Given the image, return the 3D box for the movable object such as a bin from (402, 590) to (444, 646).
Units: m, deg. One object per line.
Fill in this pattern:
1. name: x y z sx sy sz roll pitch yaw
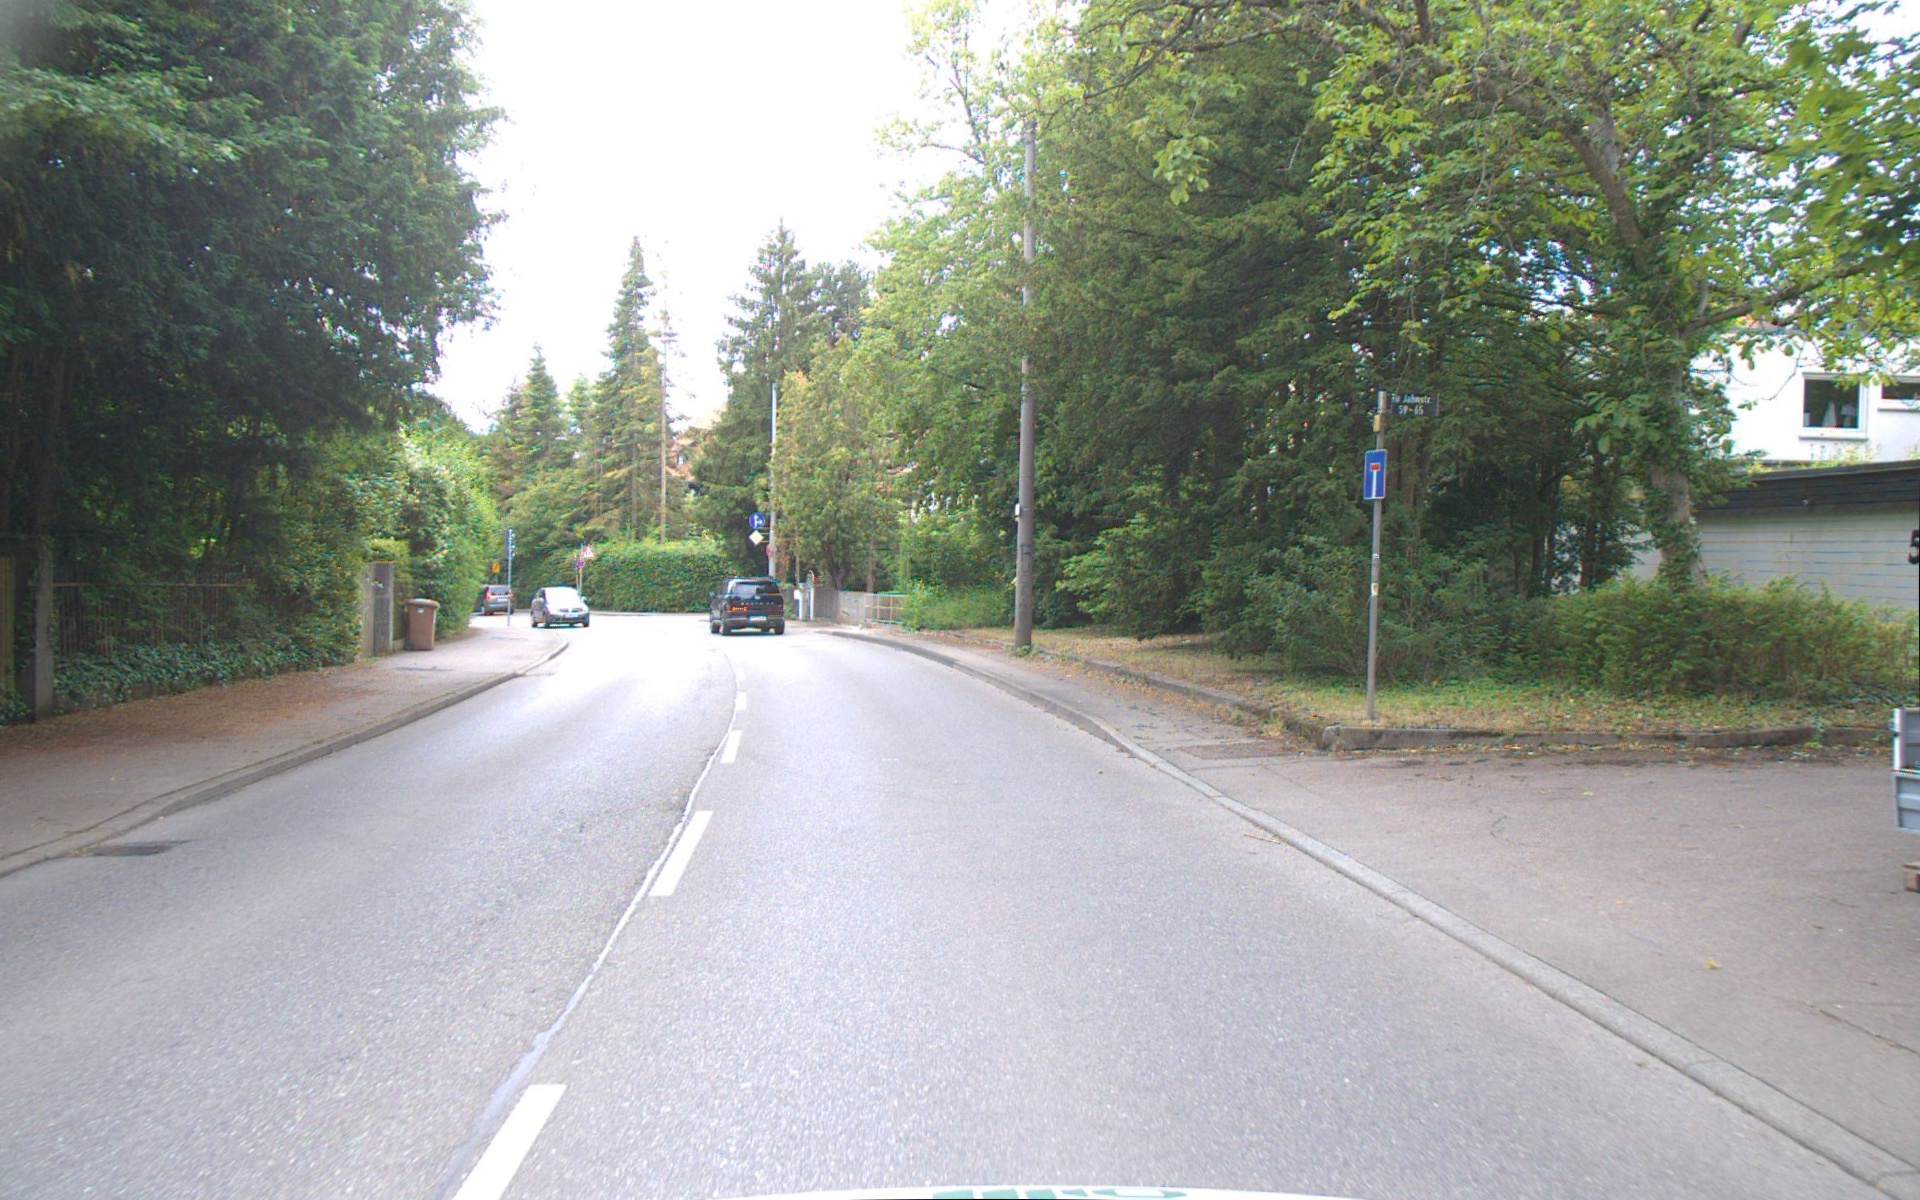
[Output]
1. movable object such as a bin: -11.392 0.379 35.108 0.728 1.161 0.644 2 0 -12

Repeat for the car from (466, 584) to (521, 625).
1. car: -18.491 0.147 65.480 1.873 1.479 3.776 -2 1 -19

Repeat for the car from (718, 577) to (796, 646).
1. car: -6.185 0.318 50.741 1.953 1.914 3.999 2 1 -2

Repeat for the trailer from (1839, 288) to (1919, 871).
1. trailer: 6.395 -0.098 8.398 3.057 2.950 1.591 0 0 -7

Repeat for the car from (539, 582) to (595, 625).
1. car: -15.600 0.130 65.514 1.961 1.646 3.982 0 1 -16
